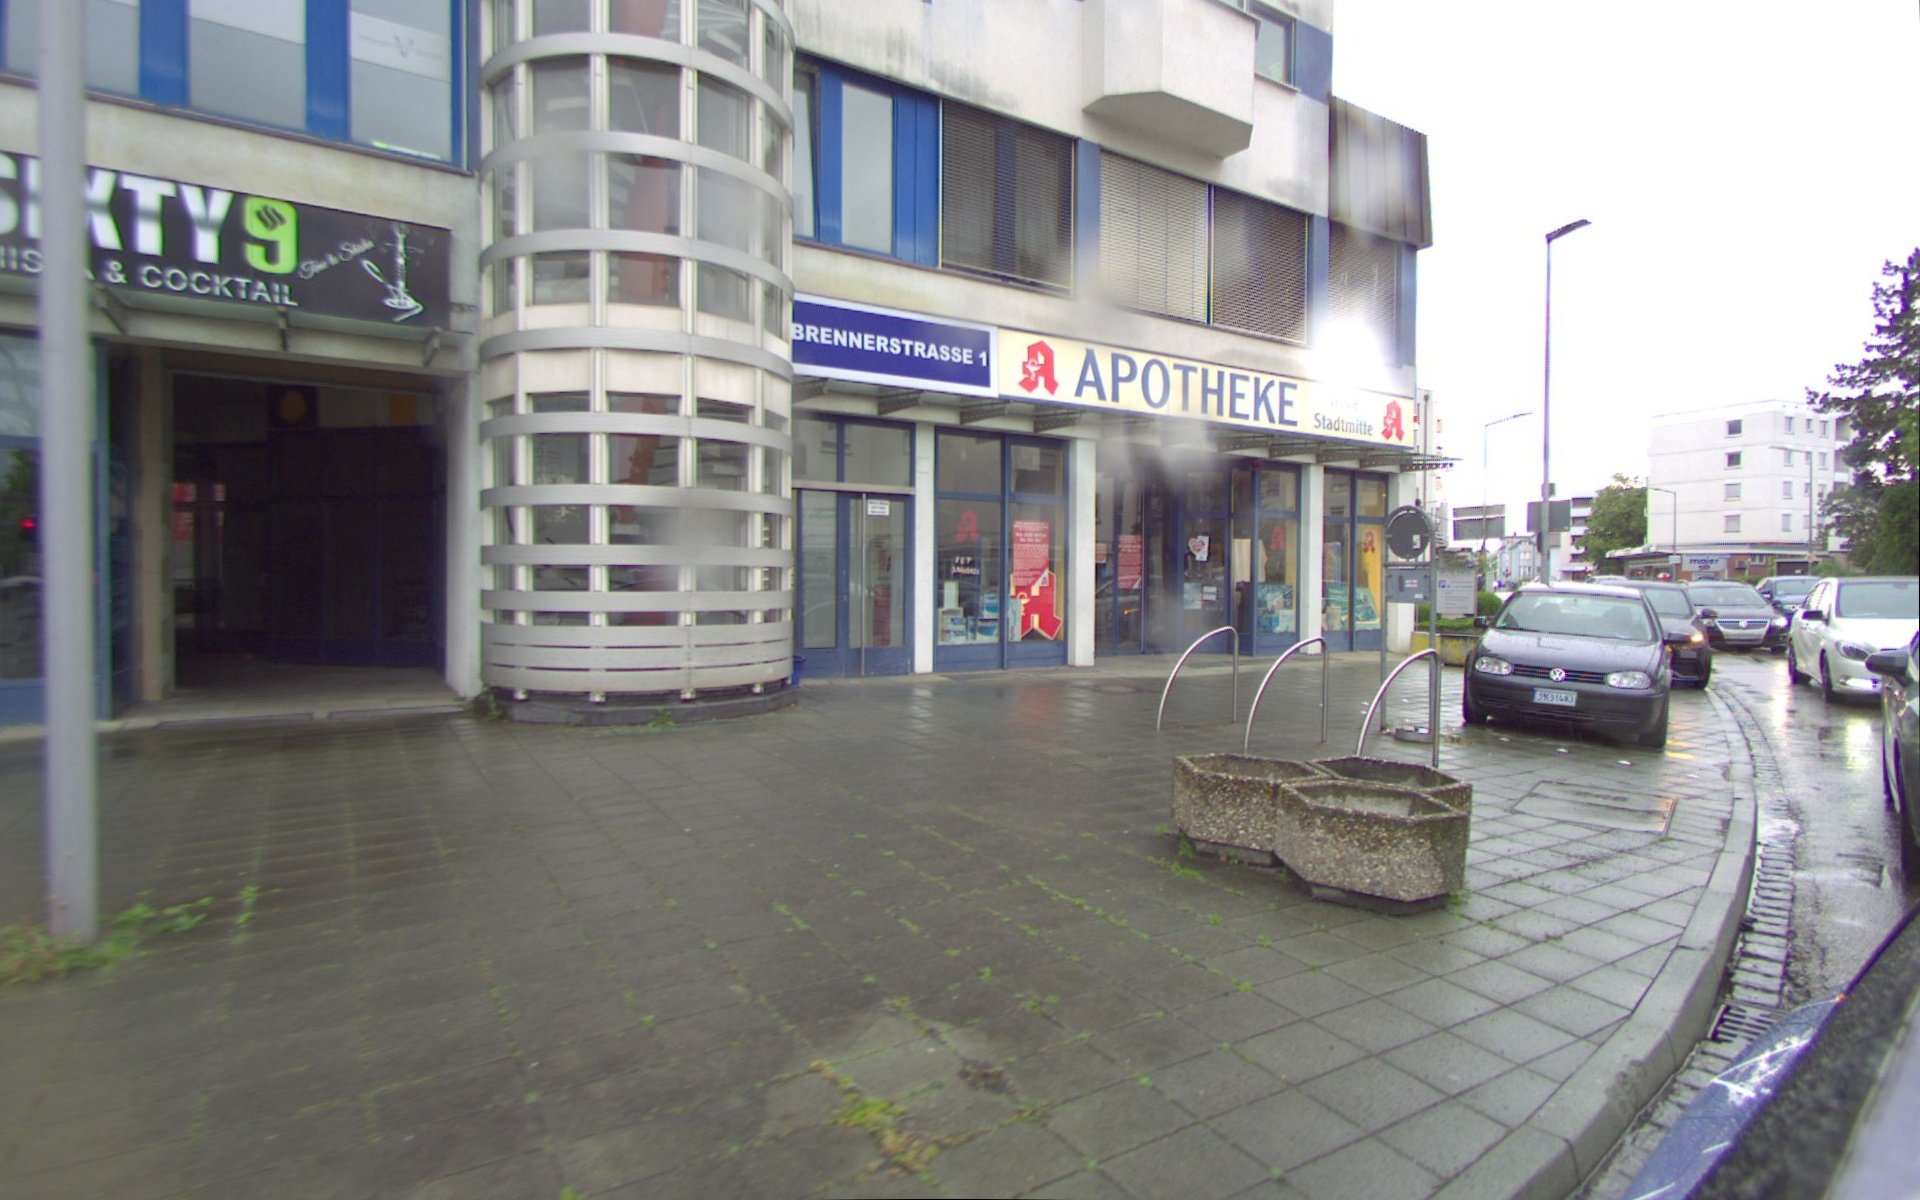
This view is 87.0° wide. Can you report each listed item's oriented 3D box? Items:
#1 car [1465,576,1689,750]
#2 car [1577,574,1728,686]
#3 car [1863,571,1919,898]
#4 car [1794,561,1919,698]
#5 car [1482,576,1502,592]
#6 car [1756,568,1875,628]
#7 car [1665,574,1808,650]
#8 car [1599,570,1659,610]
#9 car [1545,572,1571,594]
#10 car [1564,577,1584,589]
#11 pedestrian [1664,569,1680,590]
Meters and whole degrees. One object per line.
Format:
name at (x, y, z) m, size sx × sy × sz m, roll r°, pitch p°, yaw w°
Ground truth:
car at (6.501, 0.486, 10.550) m, size 1.645 × 1.388 × 3.685 m, roll 4°, pitch 3°, yaw 35°
car at (10.381, 0.334, 15.206) m, size 1.649 × 1.442 × 3.950 m, roll 1°, pitch 2°, yaw 35°
car at (6.355, 0.588, 5.678) m, size 1.727 × 1.462 × 3.990 m, roll 0°, pitch 2°, yaw 39°
car at (12.154, 0.315, 13.056) m, size 1.723 × 1.547 × 4.014 m, roll 1°, pitch 1°, yaw 34°
car at (56.441, -1.702, 107.406) m, size 1.728 × 1.660 × 3.964 m, roll 1°, pitch 2°, yaw 26°
car at (23.340, -0.108, 27.754) m, size 1.736 × 1.472 × 3.776 m, roll 1°, pitch 3°, yaw 29°
car at (16.443, 0.172, 21.632) m, size 1.786 × 1.385 × 3.935 m, roll 1°, pitch 3°, yaw 28°
car at (29.273, -0.458, 44.237) m, size 1.987 × 1.635 × 3.949 m, roll -1°, pitch 1°, yaw 36°
car at (48.644, -1.409, 82.362) m, size 1.730 × 1.660 × 3.960 m, roll 1°, pitch 2°, yaw 29°
car at (73.753, -2.051, 121.588) m, size 1.854 × 1.454 × 3.706 m, roll 1°, pitch 2°, yaw 27°
pedestrian at (59.028, -1.692, 83.960) m, size 0.844 × 1.757 × 0.832 m, roll 1°, pitch 2°, yaw 19°
